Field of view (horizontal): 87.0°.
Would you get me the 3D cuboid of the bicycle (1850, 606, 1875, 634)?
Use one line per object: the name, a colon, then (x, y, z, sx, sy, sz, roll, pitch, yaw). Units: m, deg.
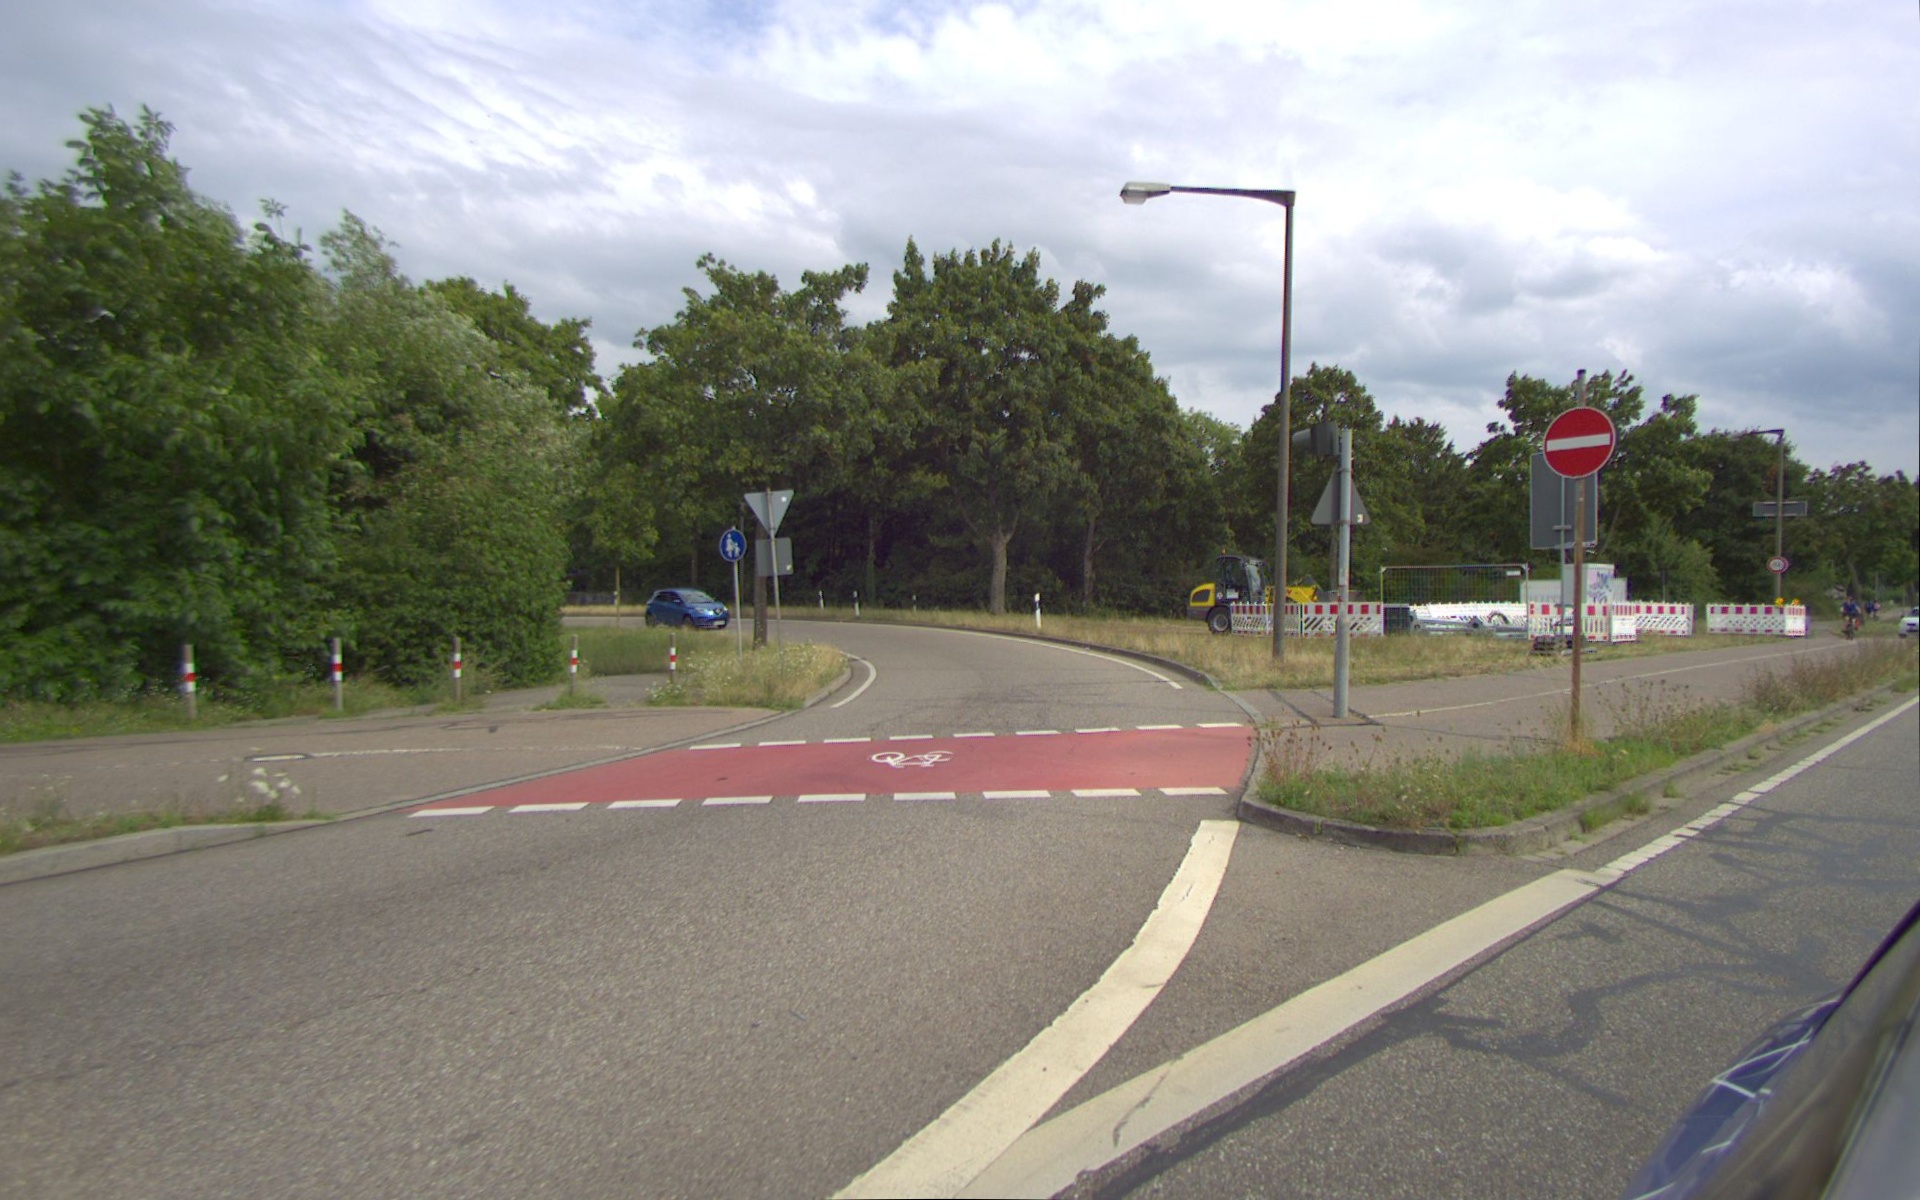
bicycle: (38.335, 0.834, 42.967, 1.948, 1.162, 0.574, 1, 2, -43)

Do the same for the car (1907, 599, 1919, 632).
car: (46.945, 0.712, 48.197, 3.923, 1.521, 1.853, 0, -1, -34)

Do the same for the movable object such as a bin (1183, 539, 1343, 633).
movable object such as a bin: (9.418, -0.436, 31.779, 2.062, 2.723, 4.515, 0, 1, -36)

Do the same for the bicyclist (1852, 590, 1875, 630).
bicyclist: (38.420, 0.408, 43.032, 0.861, 1.678, 0.652, 0, 0, -42)

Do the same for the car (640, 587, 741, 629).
car: (-10.447, 0.271, 39.171, 3.981, 1.537, 1.853, 0, 1, 40)

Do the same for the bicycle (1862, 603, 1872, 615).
bicycle: (75.426, 0.720, 84.176, 1.753, 0.976, 0.514, 0, 2, -45)

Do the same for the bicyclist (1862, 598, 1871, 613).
bicyclist: (75.405, 0.457, 84.145, 0.442, 1.298, 0.539, 0, 0, -44)

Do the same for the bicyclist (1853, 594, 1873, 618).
bicyclist: (57.963, 0.369, 64.972, 0.940, 1.537, 0.743, 0, 0, -35)

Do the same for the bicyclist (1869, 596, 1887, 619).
bicyclist: (61.591, 0.520, 67.879, 0.941, 1.537, 0.743, 0, 0, -39)

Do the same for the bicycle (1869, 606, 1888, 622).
bicycle: (61.654, 0.962, 67.910, 2.155, 1.049, 0.596, 1, 1, -40)

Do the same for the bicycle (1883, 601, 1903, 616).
bicycle: (64.485, 0.580, 69.945, 1.753, 1.018, 0.622, 0, 3, -36)

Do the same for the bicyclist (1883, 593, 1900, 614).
bicyclist: (64.286, 0.234, 69.831, 0.790, 1.492, 0.742, 0, 0, -35)
